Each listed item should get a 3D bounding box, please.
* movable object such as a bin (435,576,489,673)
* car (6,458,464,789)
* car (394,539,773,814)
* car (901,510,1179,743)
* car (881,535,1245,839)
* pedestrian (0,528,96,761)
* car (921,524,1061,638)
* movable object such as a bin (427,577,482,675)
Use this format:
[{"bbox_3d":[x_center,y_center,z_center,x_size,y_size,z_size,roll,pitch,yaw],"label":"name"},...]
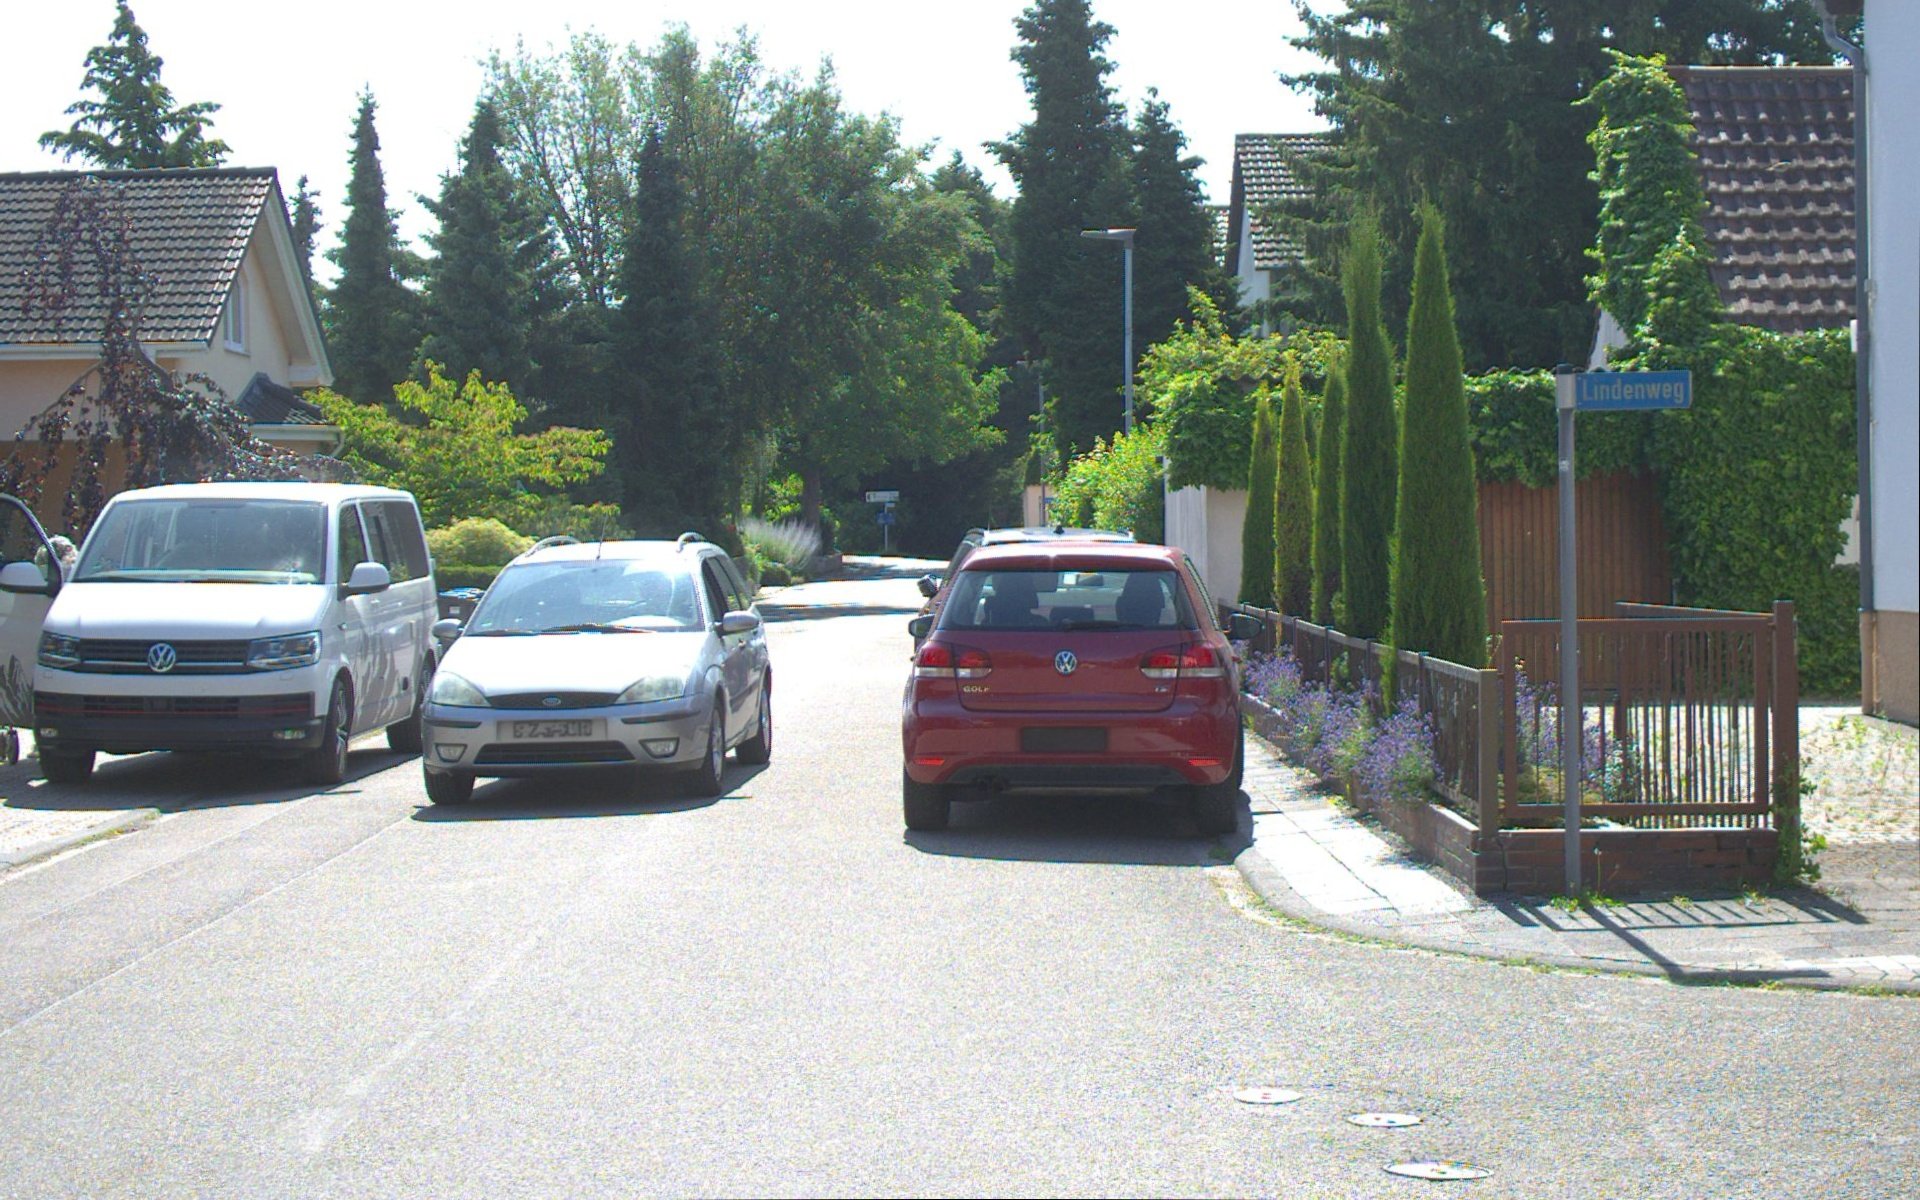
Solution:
[{"bbox_3d":[-5.363,0.257,37.031,0.494,1.021,0.447,-1,1,0],"label":"movable object such as a bin"},{"bbox_3d":[-4.775,0.096,23.417,1.929,2.007,4.896,0,1,2],"label":"car"},{"bbox_3d":[-2.205,0.387,21.222,1.752,1.482,4.375,-1,1,1],"label":"car"},{"bbox_3d":[0.524,0.147,25.812,1.822,1.610,4.001,0,1,-2],"label":"car"},{"bbox_3d":[0.632,0.393,19.053,1.775,1.474,4.000,1,1,4],"label":"car"},{"bbox_3d":[-6.346,0.286,23.250,0.718,1.533,0.641,1,2,34],"label":"pedestrian"},{"bbox_3d":[0.360,-0.272,44.493,1.702,1.395,4.000,0,1,-1],"label":"car"},{"bbox_3d":[-5.370,0.275,36.544,0.494,1.021,0.447,-1,1,0],"label":"movable object such as a bin"}]
